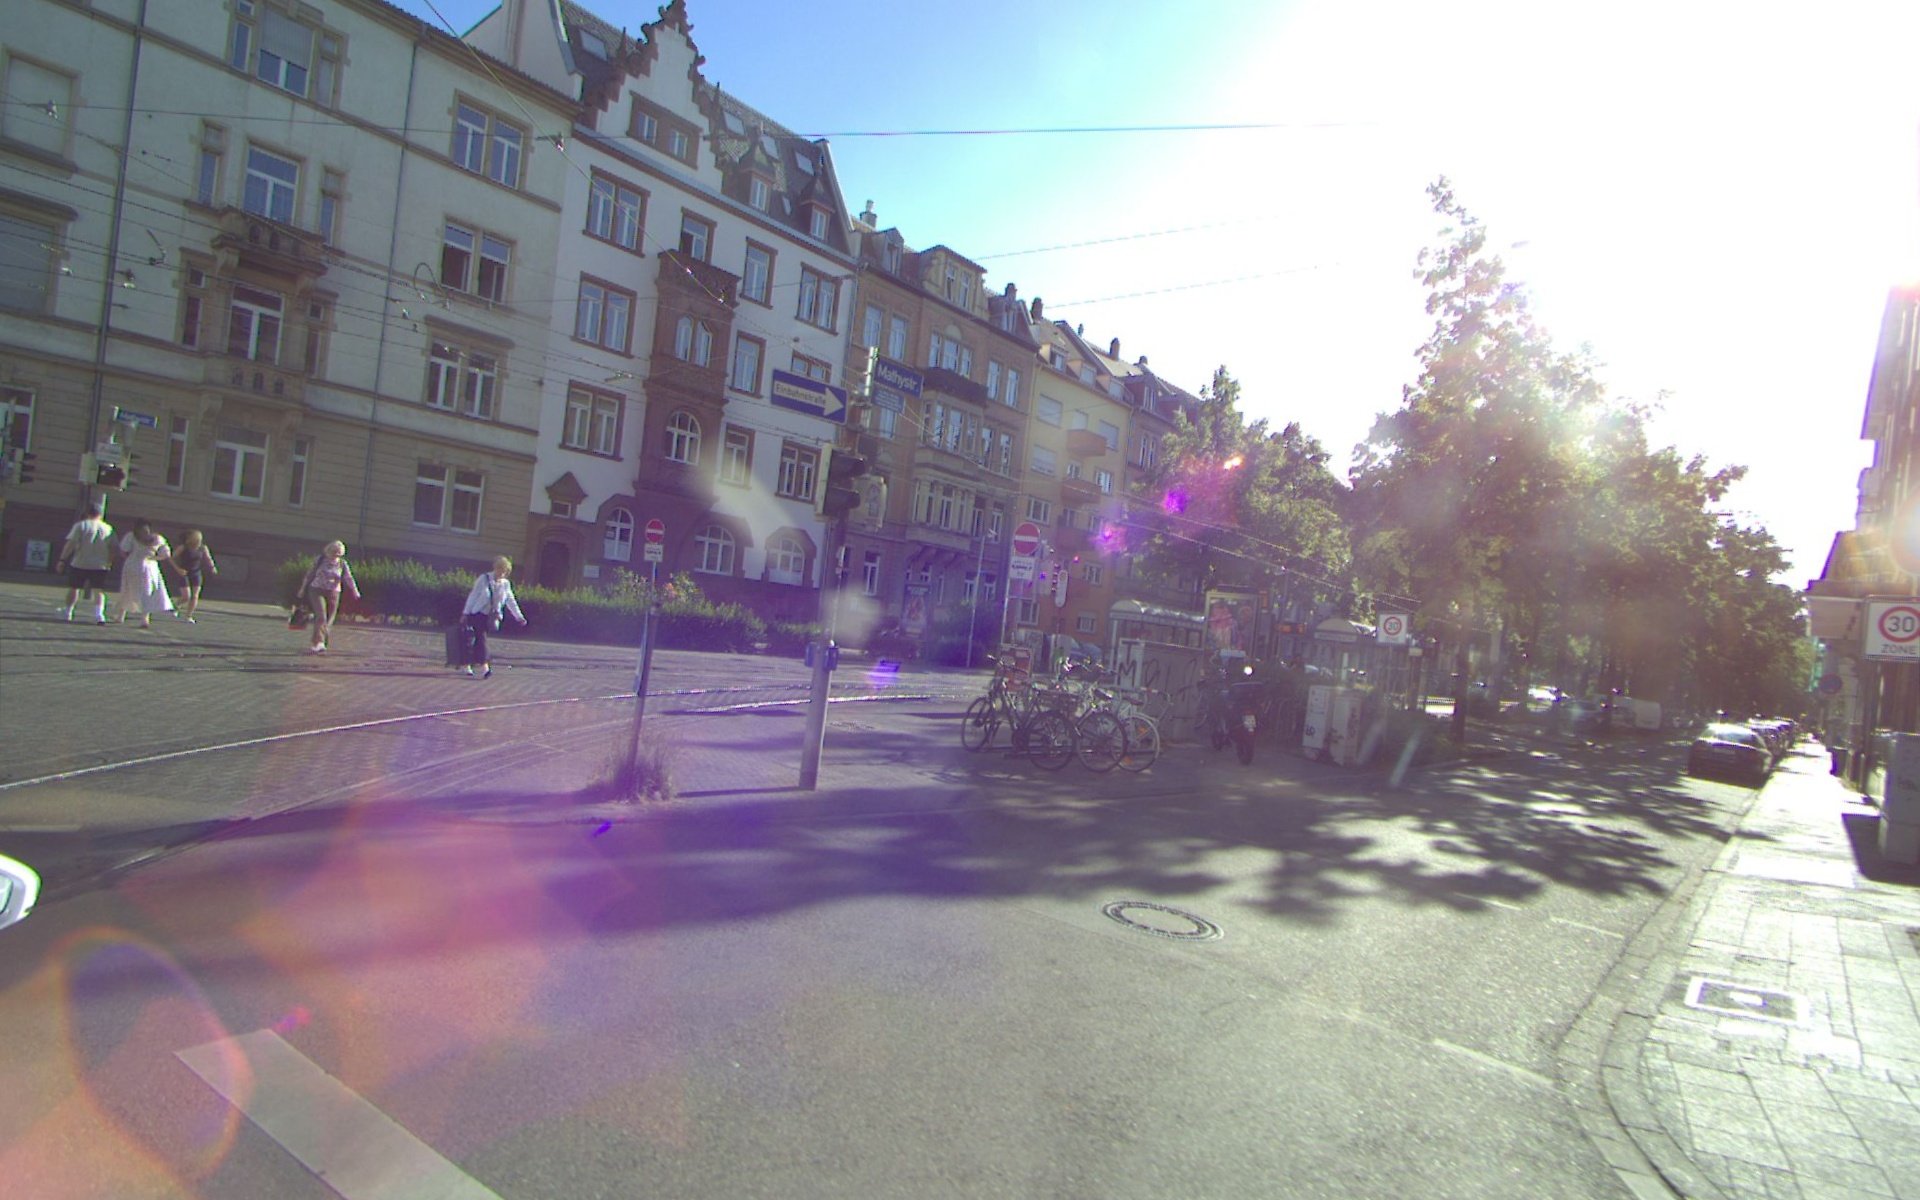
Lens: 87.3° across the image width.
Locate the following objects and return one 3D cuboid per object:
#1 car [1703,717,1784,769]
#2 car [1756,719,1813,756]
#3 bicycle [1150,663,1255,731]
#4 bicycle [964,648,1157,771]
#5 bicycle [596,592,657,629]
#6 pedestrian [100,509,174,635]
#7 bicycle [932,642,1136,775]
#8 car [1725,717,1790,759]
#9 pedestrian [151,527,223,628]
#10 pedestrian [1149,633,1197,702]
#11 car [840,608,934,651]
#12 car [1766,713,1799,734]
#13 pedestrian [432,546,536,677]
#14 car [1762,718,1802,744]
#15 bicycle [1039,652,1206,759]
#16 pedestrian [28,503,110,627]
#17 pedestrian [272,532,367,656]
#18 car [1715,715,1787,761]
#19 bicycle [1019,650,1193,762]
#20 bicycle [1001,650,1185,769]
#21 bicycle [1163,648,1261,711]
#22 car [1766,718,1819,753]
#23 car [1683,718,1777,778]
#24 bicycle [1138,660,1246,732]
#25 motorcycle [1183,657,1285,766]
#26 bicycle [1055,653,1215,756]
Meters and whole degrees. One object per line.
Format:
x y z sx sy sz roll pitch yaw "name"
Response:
26.257 4.735 33.682 1.723 1.437 3.746 4 -2 43 "car"
38.207 6.333 46.577 1.723 1.437 3.746 4 -2 43 "car"
5.144 2.035 21.365 2.002 1.143 0.651 7 1 19 "bicycle"
1.269 1.364 12.976 2.273 1.224 0.751 6 0 32 "bicycle"
-12.670 0.411 38.274 0.518 1.188 2.184 5 -1 41 "bicycle"
-12.241 -0.412 14.959 0.641 1.765 0.697 8 -3 -44 "pedestrian"
0.871 1.277 12.268 2.273 1.225 0.751 7 1 32 "bicycle"
32.883 5.639 41.441 1.723 1.437 3.746 4 -2 43 "car"
-12.611 -0.360 16.446 0.626 1.556 0.937 5 -1 -24 "pedestrian"
5.500 1.727 25.890 1.002 1.652 1.010 5 -1 17 "pedestrian"
-3.230 1.341 44.925 1.866 1.415 3.986 7 -1 38 "car"
64.562 9.686 78.935 1.723 1.437 3.746 4 -2 43 "car"
-6.406 0.153 13.539 0.918 1.652 0.998 5 -1 -41 "pedestrian"
54.383 8.612 66.517 1.723 1.437 3.746 4 -2 43 "car"
2.394 1.531 15.003 2.273 1.225 0.649 7 1 32 "bicycle"
-12.784 -0.490 14.450 0.696 1.675 0.626 5 0 -35 "pedestrian"
-9.195 -0.078 14.483 0.913 1.652 0.937 5 -1 -25 "pedestrian"
29.784 5.140 37.835 1.723 1.437 3.746 4 -2 43 "car"
2.057 1.476 14.363 2.273 1.225 0.649 7 1 32 "bicycle"
1.763 1.436 13.569 2.273 1.225 0.649 7 1 32 "bicycle"
5.752 1.810 23.054 2.001 1.143 0.651 7 1 8 "bicycle"
41.107 6.673 49.640 1.723 1.437 3.746 4 -2 43 "car"
22.625 4.277 29.492 1.723 1.437 3.978 4 -2 43 "car"
4.715 1.929 20.471 2.002 1.225 0.651 5 0 19 "bicycle"
4.378 1.752 16.256 0.850 1.422 1.942 7 1 -3 "motorcycle"
2.704 1.597 15.692 2.273 1.225 0.649 7 1 32 "bicycle"
